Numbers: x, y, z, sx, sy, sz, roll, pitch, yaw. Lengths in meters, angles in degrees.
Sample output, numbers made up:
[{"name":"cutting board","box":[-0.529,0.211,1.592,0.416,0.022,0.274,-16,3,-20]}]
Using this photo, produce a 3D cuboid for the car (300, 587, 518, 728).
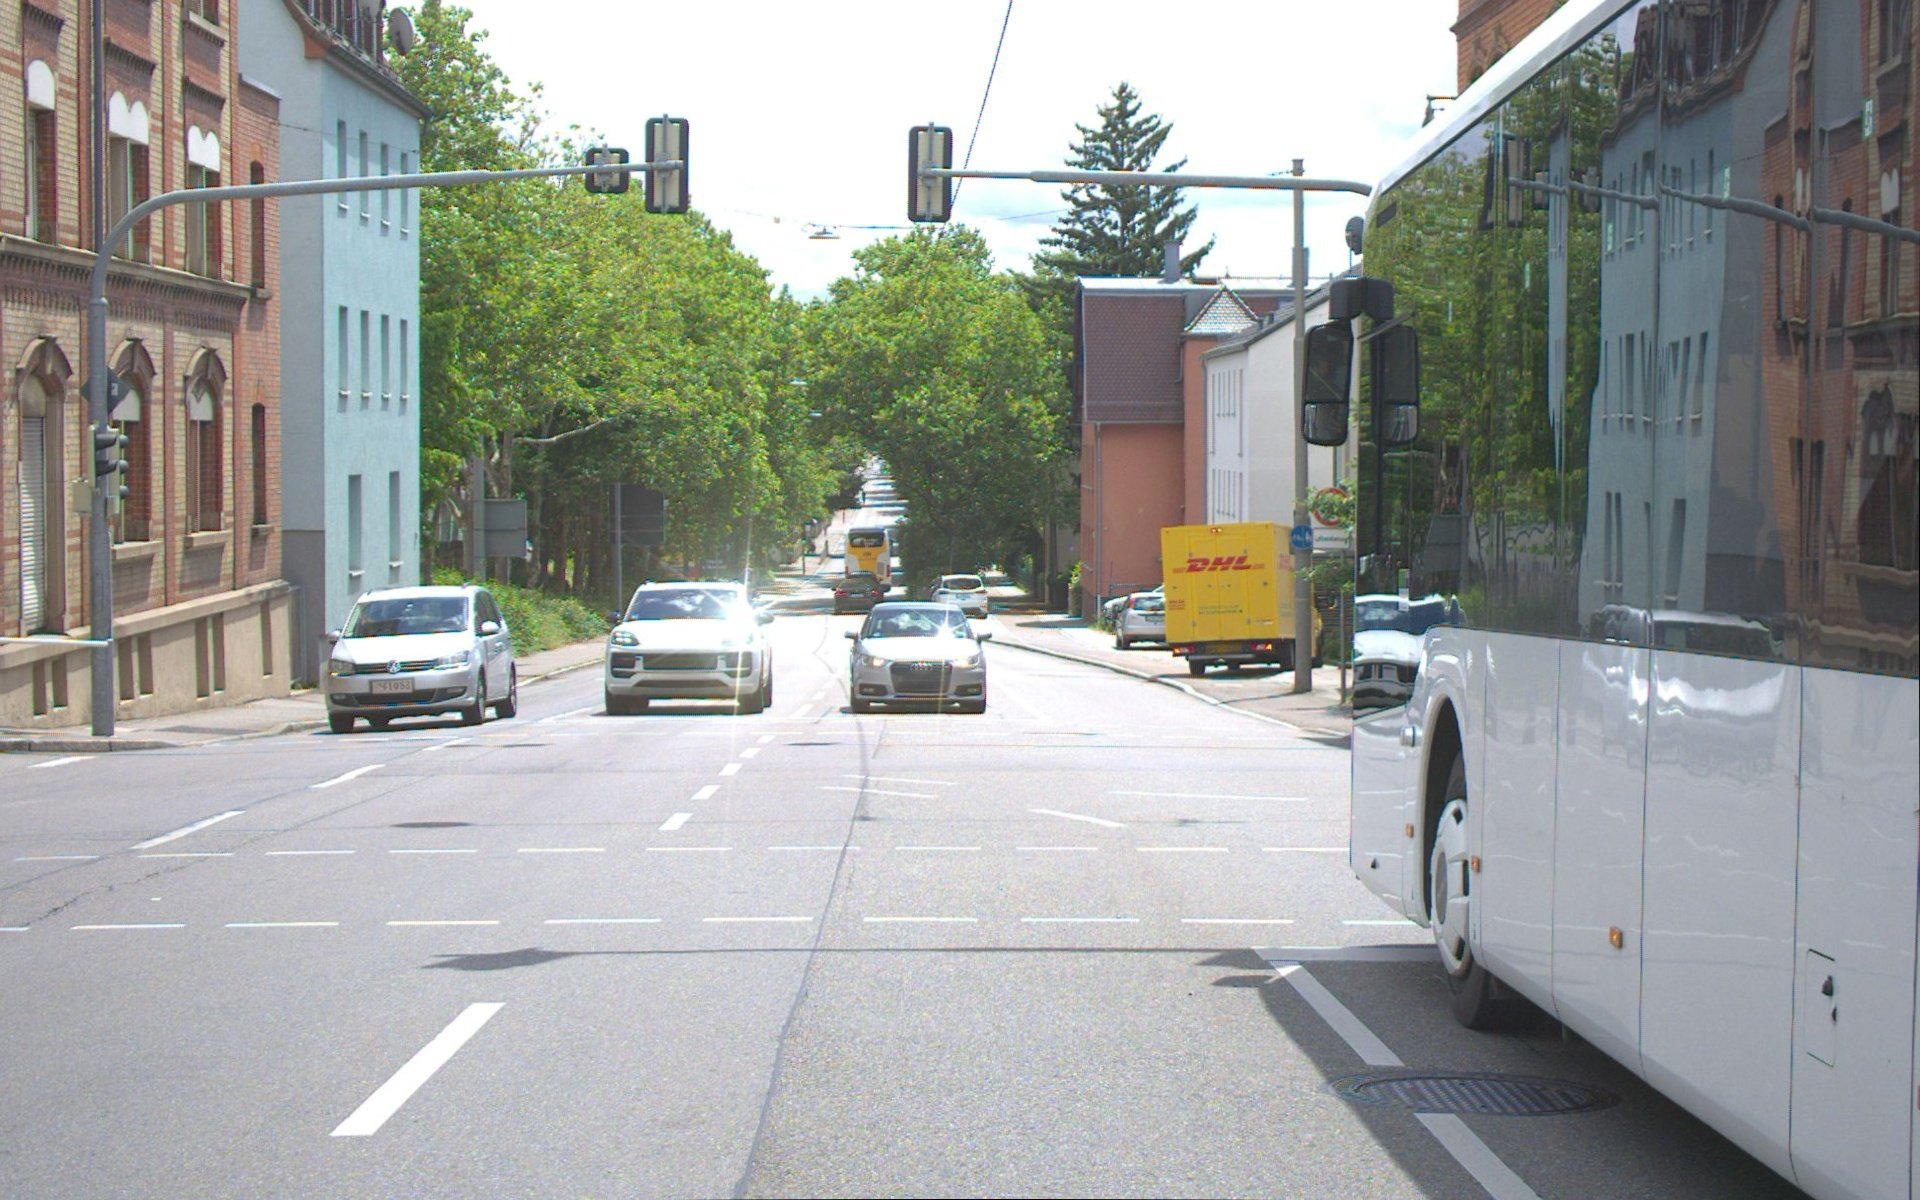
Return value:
[{"name":"car","box":[-6.524,0.644,41.146,1.935,1.558,4.389,-1,0,-1]}]

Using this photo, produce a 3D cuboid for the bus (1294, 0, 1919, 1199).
[{"name":"bus","box":[2.956,-0.186,8.211,2.904,3.498,12.488,1,0,-1]}]

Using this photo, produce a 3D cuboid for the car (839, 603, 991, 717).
[{"name":"car","box":[-0.586,0.748,44.940,1.865,1.363,4.547,-1,0,-1]}]

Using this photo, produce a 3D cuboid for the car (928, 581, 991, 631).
[{"name":"car","box":[-0.037,0.200,127.851,2.091,1.824,4.143,0,0,-4]}]

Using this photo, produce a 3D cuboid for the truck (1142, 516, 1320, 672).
[{"name":"truck","box":[5.408,-0.115,67.548,2.542,2.903,6.568,1,0,13]}]

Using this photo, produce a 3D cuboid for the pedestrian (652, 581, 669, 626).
[{"name":"pedestrian","box":[-11.784,0.143,135.123,0.606,1.752,0.654,-1,0,-2]}]

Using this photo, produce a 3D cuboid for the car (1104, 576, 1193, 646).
[{"name":"car","box":[4.981,0.284,91.285,1.910,1.810,4.000,0,0,-3]}]

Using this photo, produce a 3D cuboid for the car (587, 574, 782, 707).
[{"name":"car","box":[-3.520,0.484,44.687,2.207,1.607,4.547,-1,0,-1]}]

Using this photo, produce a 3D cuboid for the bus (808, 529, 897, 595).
[{"name":"bus","box":[-6.252,-2.165,197.370,3.299,3.618,11.247,-1,0,-11]}]

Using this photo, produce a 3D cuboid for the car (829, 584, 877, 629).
[{"name":"car","box":[-4.288,0.250,138.063,1.819,1.778,4.000,-1,0,-1]}]
